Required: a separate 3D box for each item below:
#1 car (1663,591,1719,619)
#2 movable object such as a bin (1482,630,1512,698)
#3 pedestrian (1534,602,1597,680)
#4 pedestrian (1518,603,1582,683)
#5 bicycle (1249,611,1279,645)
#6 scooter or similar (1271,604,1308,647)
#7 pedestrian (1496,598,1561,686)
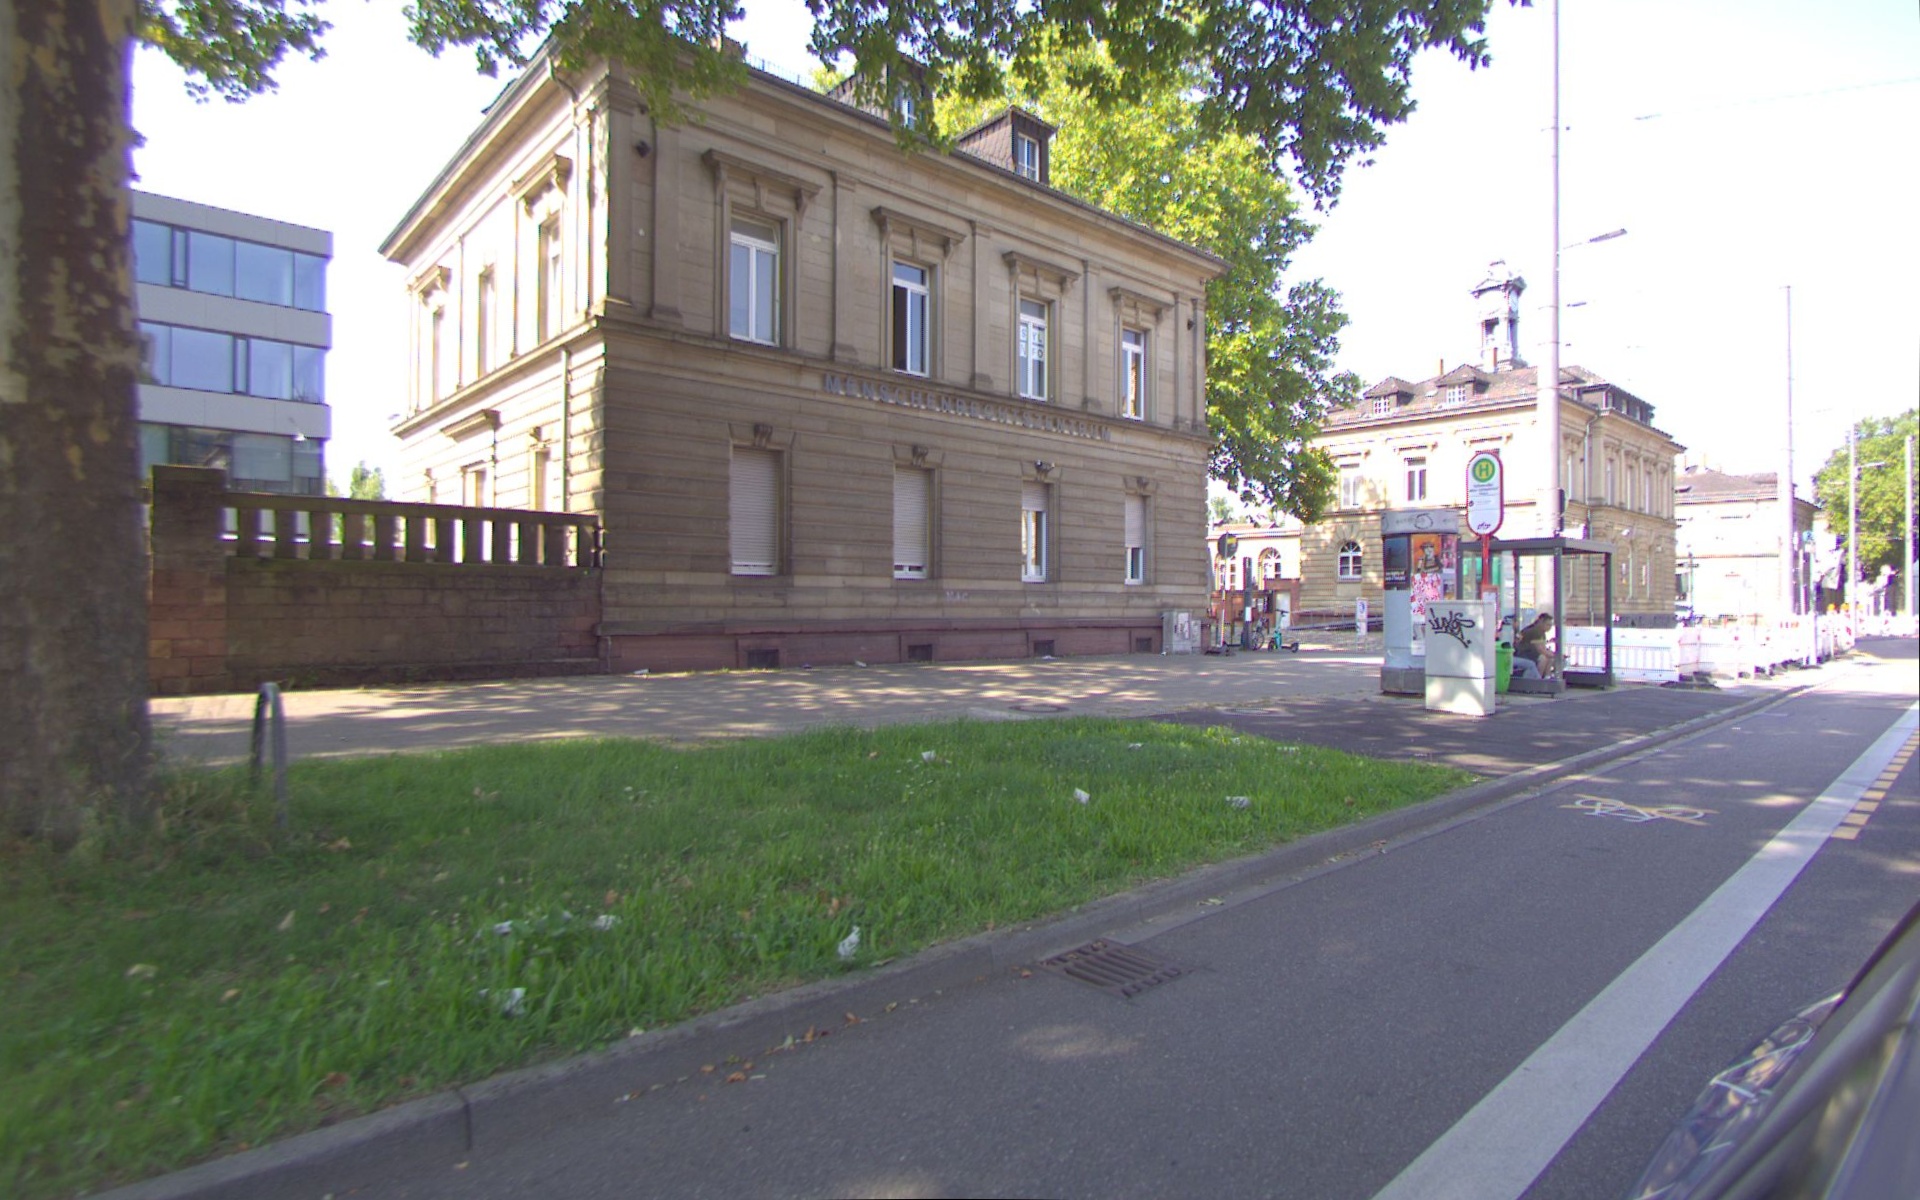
[{"bbox_3d":[52.343,0.382,72.463,4.142,1.806,1.911,3,-1,-34],"label":"car"},{"bbox_3d":[7.570,0.900,14.260,0.379,0.927,0.271,1,-1,-44],"label":"movable object such as a bin"},{"bbox_3d":[10.321,0.688,17.256,0.601,1.277,0.742,-1,-1,-42],"label":"pedestrian"},{"bbox_3d":[9.780,0.699,16.771,0.601,1.277,0.742,-1,-1,-42],"label":"pedestrian"},{"bbox_3d":[9.406,0.864,31.287,0.488,1.012,1.798,0,-2,29],"label":"bicycle"},{"bbox_3d":[9.682,0.733,29.710,1.151,1.244,0.427,1,0,-35],"label":"scooter or similar"},{"bbox_3d":[9.218,0.662,16.414,0.601,1.383,0.751,-1,-1,-42],"label":"pedestrian"}]
